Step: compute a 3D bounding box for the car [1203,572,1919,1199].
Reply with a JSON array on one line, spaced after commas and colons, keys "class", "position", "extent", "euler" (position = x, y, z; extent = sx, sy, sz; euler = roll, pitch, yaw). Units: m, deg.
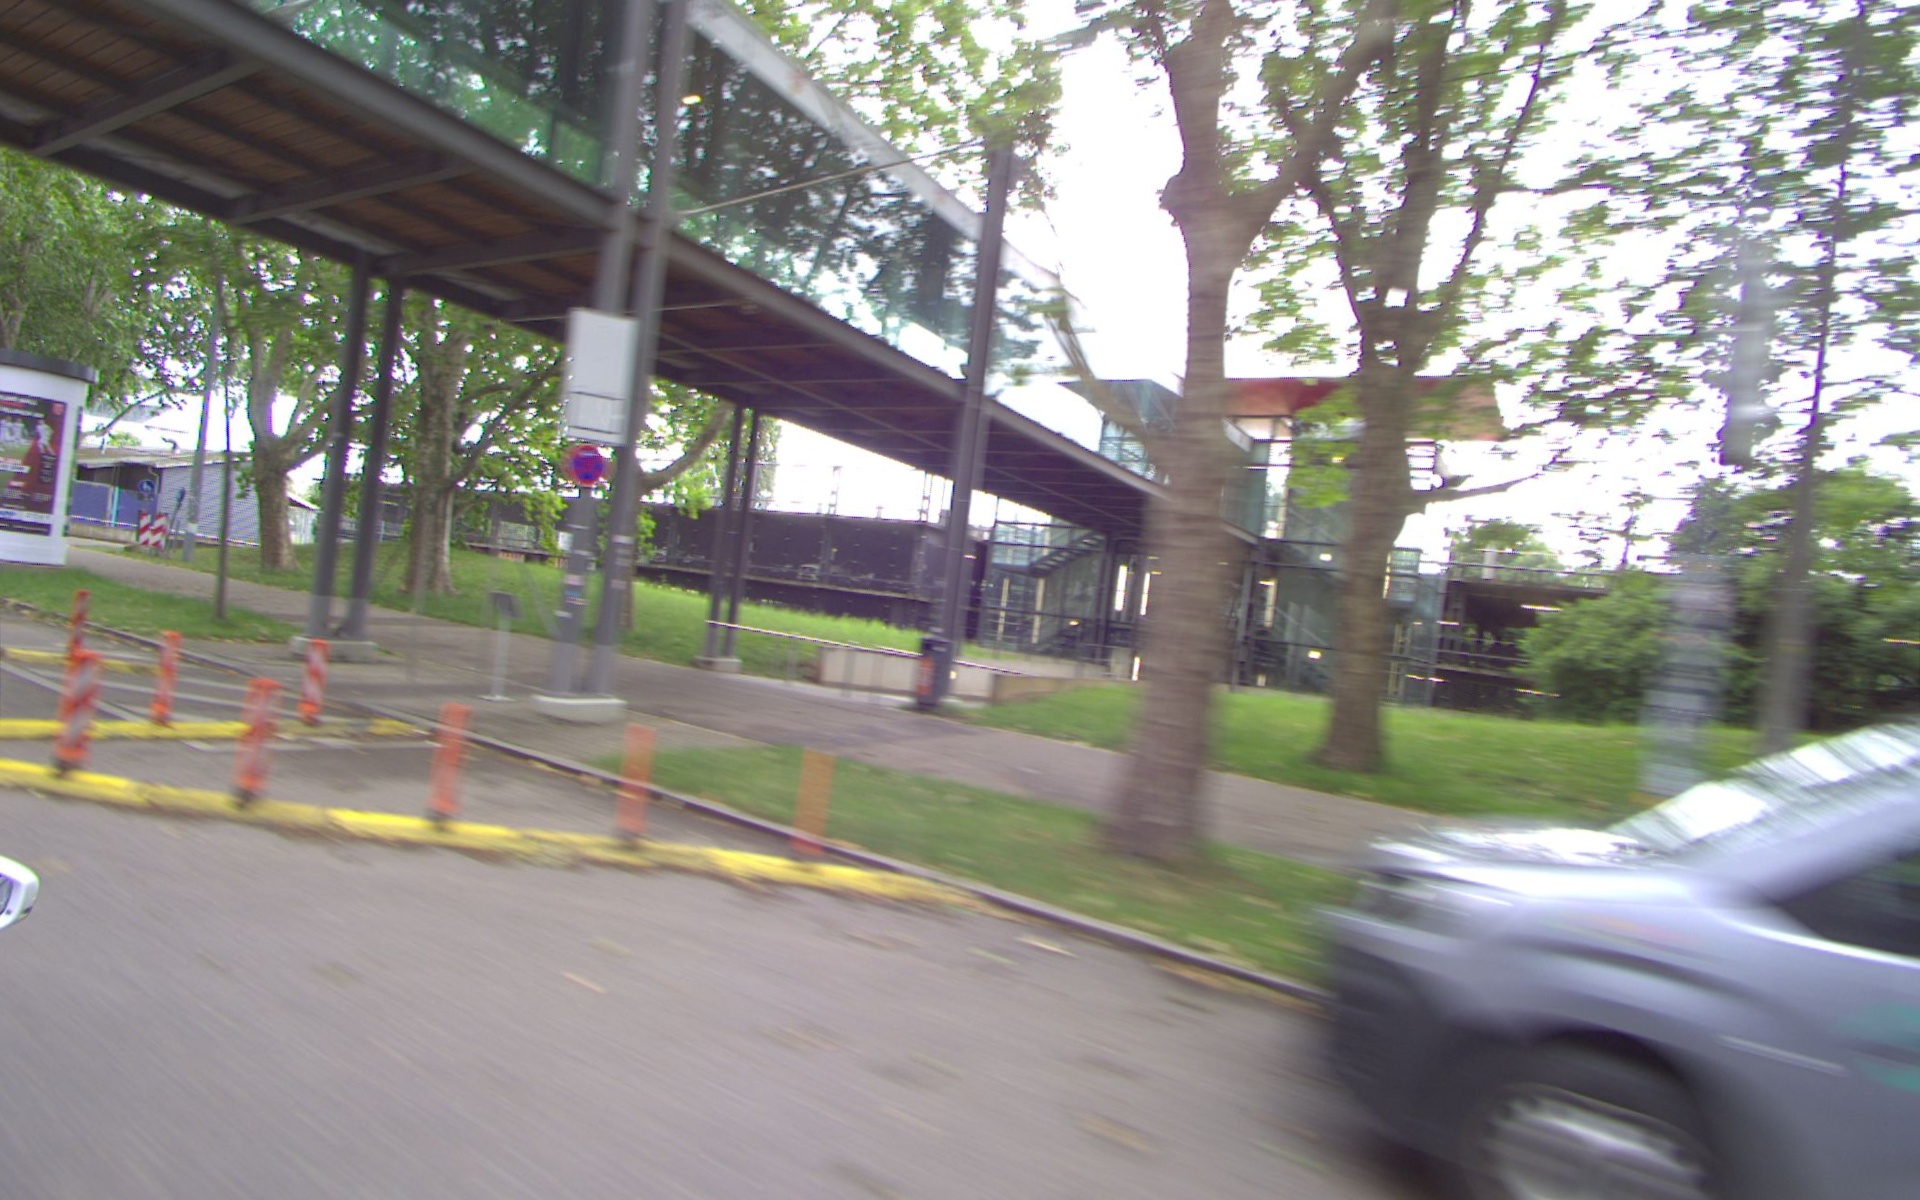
[{"class": "car", "position": [3.504, 1.164, 2.568], "extent": [5.125, 1.803, 1.851], "euler": [7, -2, 32]}]
